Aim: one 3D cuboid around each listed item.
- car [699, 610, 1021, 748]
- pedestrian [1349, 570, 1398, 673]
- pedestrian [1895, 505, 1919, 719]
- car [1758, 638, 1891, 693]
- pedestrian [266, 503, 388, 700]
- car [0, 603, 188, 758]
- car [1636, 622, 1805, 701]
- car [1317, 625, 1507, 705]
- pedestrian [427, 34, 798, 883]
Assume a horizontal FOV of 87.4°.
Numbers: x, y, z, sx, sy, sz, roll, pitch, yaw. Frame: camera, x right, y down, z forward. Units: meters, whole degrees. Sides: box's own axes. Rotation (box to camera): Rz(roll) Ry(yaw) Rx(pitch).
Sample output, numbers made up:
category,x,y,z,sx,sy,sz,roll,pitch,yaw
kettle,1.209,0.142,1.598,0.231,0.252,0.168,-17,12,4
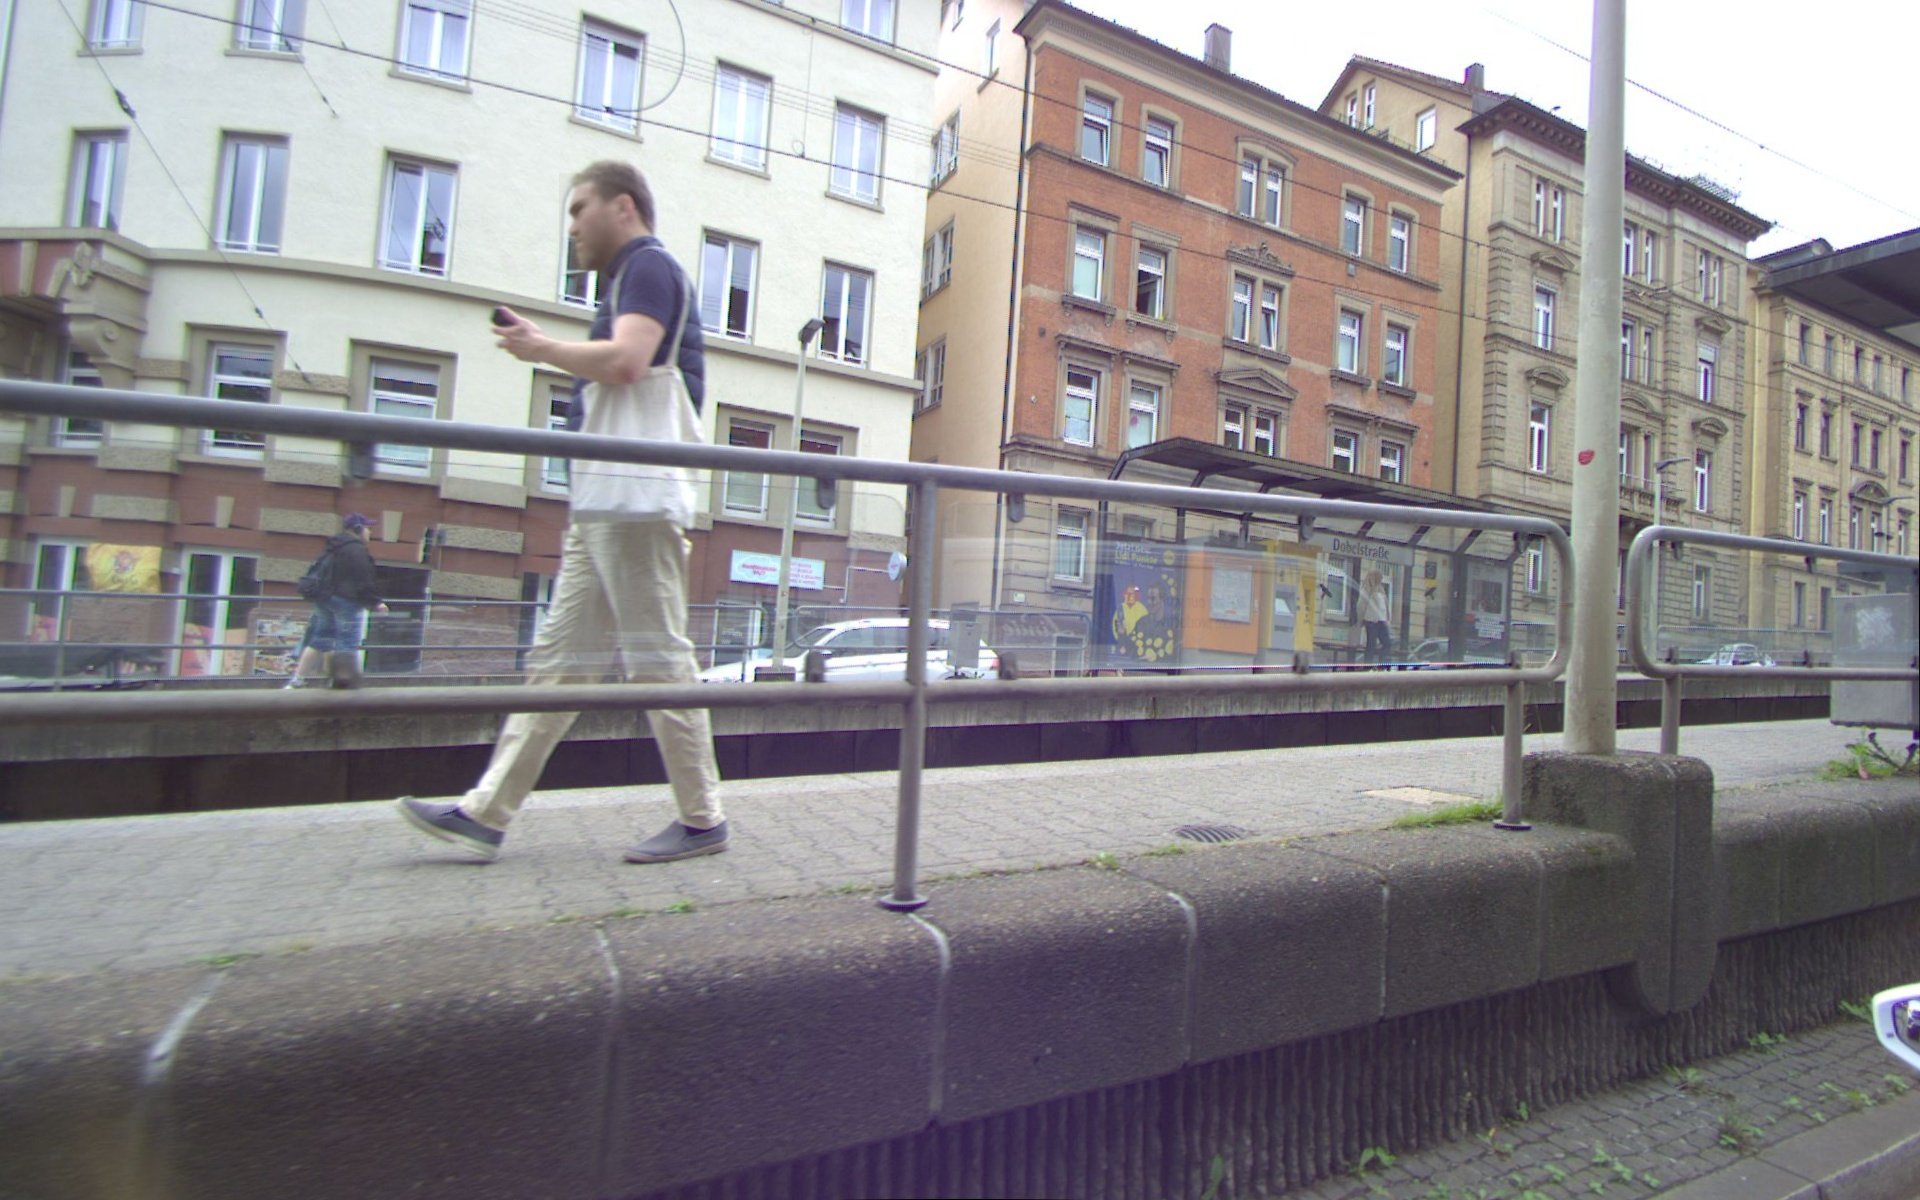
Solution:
category,x,y,z,sx,sy,sz,roll,pitch,yaw
car,-1.430,1.072,14.635,4.324,1.756,1.839,1,-2,-27
pedestrian,6.454,0.336,15.680,0.533,1.583,0.460,1,-1,-27
pedestrian,7.428,0.092,7.251,0.893,1.544,0.761,1,-2,-30
car,28.269,2.117,32.832,4.359,1.667,1.855,2,-2,-28
pedestrian,-5.788,0.031,9.238,0.832,1.711,0.763,1,-1,-26
car,-12.019,0.918,11.848,4.326,1.756,1.838,1,-2,-28
car,18.426,1.454,24.330,3.815,1.788,1.816,2,-2,-28
car,10.755,1.486,23.850,4.324,1.756,1.839,1,-2,-27
pedestrian,-0.895,-0.281,2.562,0.756,1.738,0.763,1,-1,-26
